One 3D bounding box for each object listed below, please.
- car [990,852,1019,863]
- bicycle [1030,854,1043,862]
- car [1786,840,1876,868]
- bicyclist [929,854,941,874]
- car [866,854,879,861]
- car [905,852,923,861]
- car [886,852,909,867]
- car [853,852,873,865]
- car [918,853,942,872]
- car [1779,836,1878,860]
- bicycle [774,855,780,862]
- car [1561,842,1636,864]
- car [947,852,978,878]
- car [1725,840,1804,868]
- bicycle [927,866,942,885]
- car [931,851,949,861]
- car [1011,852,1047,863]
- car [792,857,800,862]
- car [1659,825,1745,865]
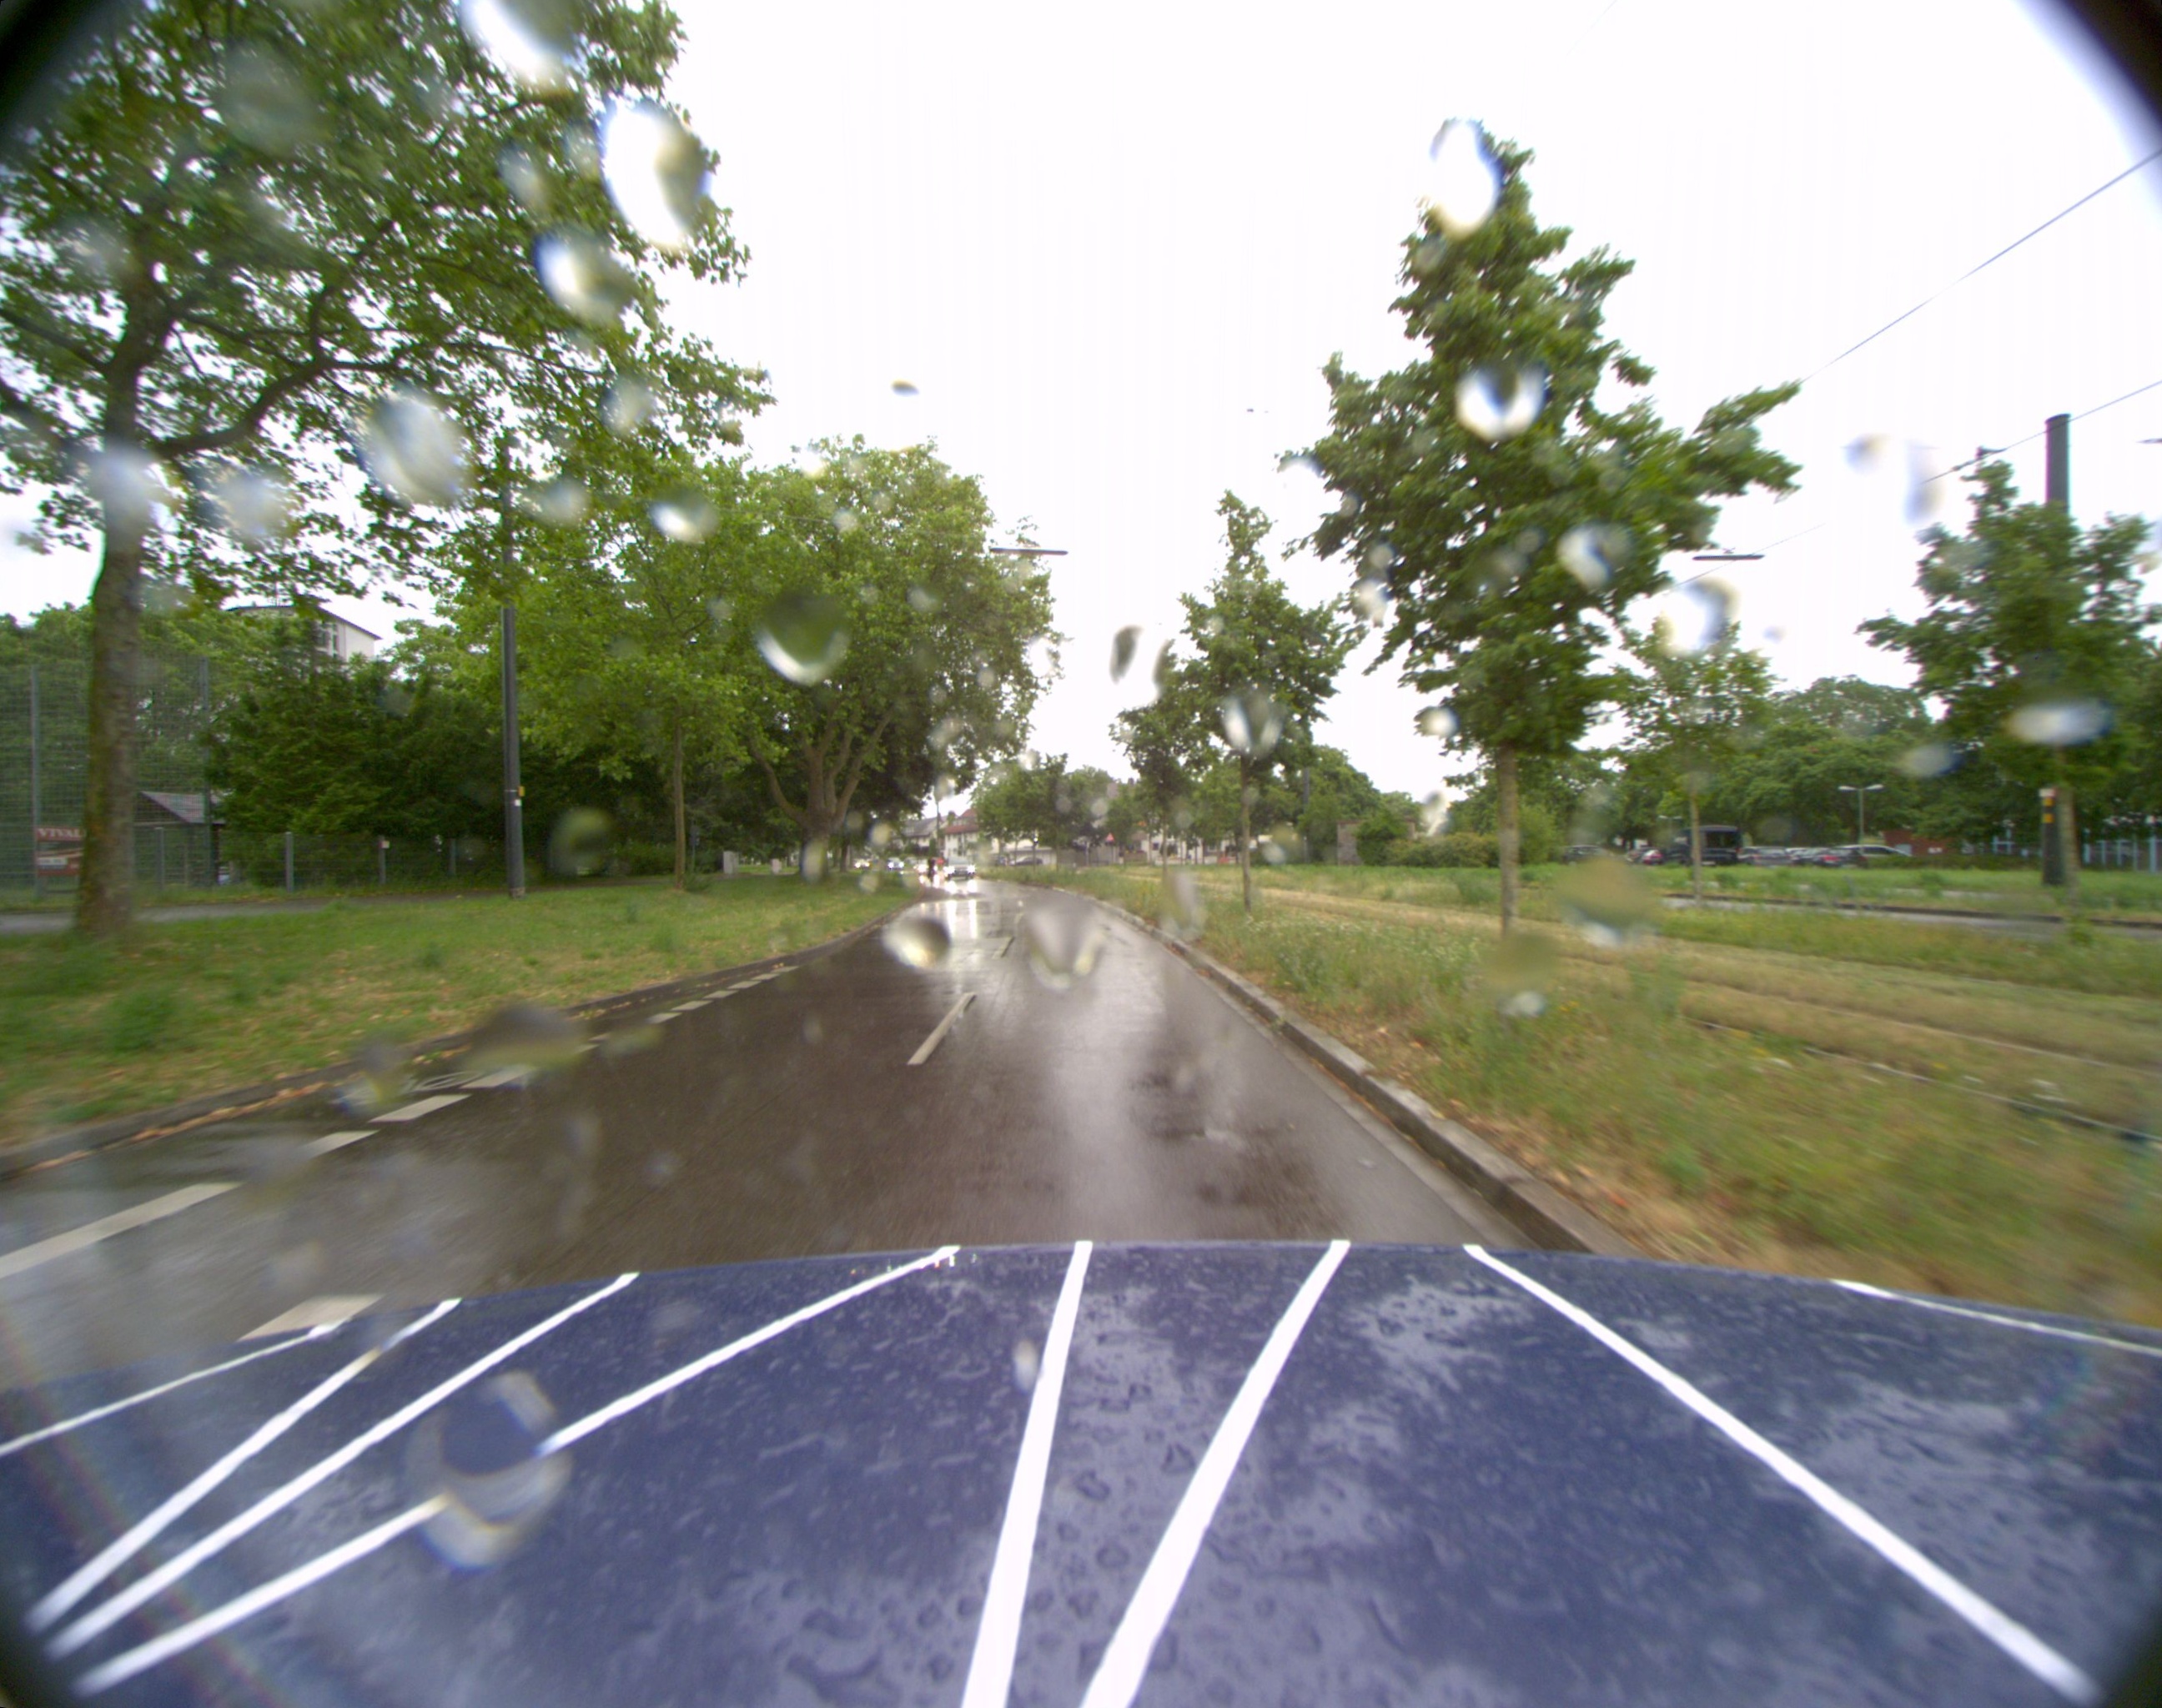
[{"bbox_3d":[-11.512,0.473,114.428,4.006,1.567,1.888,-1,0,-29],"label":"car"},{"bbox_3d":[-5.953,0.525,101.853,1.836,1.013,0.483,-2,3,37],"label":"bicycle"},{"bbox_3d":[37.037,-0.009,37.641,1.832,1.331,4.104,0,0,24],"label":"car"},{"bbox_3d":[-8.379,0.567,43.491,0.622,1.078,0.624,0,1,-7],"label":"bicyclist"},{"bbox_3d":[-45.836,0.755,167.166,1.721,1.520,3.593,-4,2,-29],"label":"car"},{"bbox_3d":[-30.877,0.460,140.254,2.003,1.604,4.673,-3,1,-28],"label":"car"},{"bbox_3d":[-21.720,0.607,89.934,1.771,1.715,3.925,-1,1,-28],"label":"car"},{"bbox_3d":[-30.098,0.559,104.871,1.771,1.715,3.924,-1,1,-31],"label":"car"},{"bbox_3d":[-14.249,0.775,71.428,1.770,1.715,3.928,-2,1,-17],"label":"car"},{"bbox_3d":[45.765,-0.357,46.631,4.051,1.426,1.694,-1,1,27],"label":"car"},{"bbox_3d":[-50.936,0.801,127.269,0.714,1.136,1.968,-2,2,-20],"label":"bicycle"},{"bbox_3d":[35.136,-0.065,51.675,4.051,1.426,1.694,-1,1,27],"label":"car"},{"bbox_3d":[-8.538,0.773,54.373,1.769,1.715,3.929,-3,1,-14],"label":"car"},{"bbox_3d":[34.883,-0.010,38.900,1.832,1.331,4.104,0,0,24],"label":"car"},{"bbox_3d":[-8.377,1.221,43.514,0.659,1.008,2.255,0,1,-7],"label":"bicycle"},{"bbox_3d":[-23.804,0.328,128.526,1.850,1.538,3.964,-4,2,-28],"label":"car"},{"bbox_3d":[-7.334,0.500,107.232,4.747,1.357,1.844,-2,1,-26],"label":"car"},{"bbox_3d":[-91.681,1.723,244.139,1.762,1.508,3.845,-4,2,-29],"label":"car"},{"bbox_3d":[32.066,-0.417,39.403,2.032,1.936,4.722,0,0,20],"label":"car"}]
